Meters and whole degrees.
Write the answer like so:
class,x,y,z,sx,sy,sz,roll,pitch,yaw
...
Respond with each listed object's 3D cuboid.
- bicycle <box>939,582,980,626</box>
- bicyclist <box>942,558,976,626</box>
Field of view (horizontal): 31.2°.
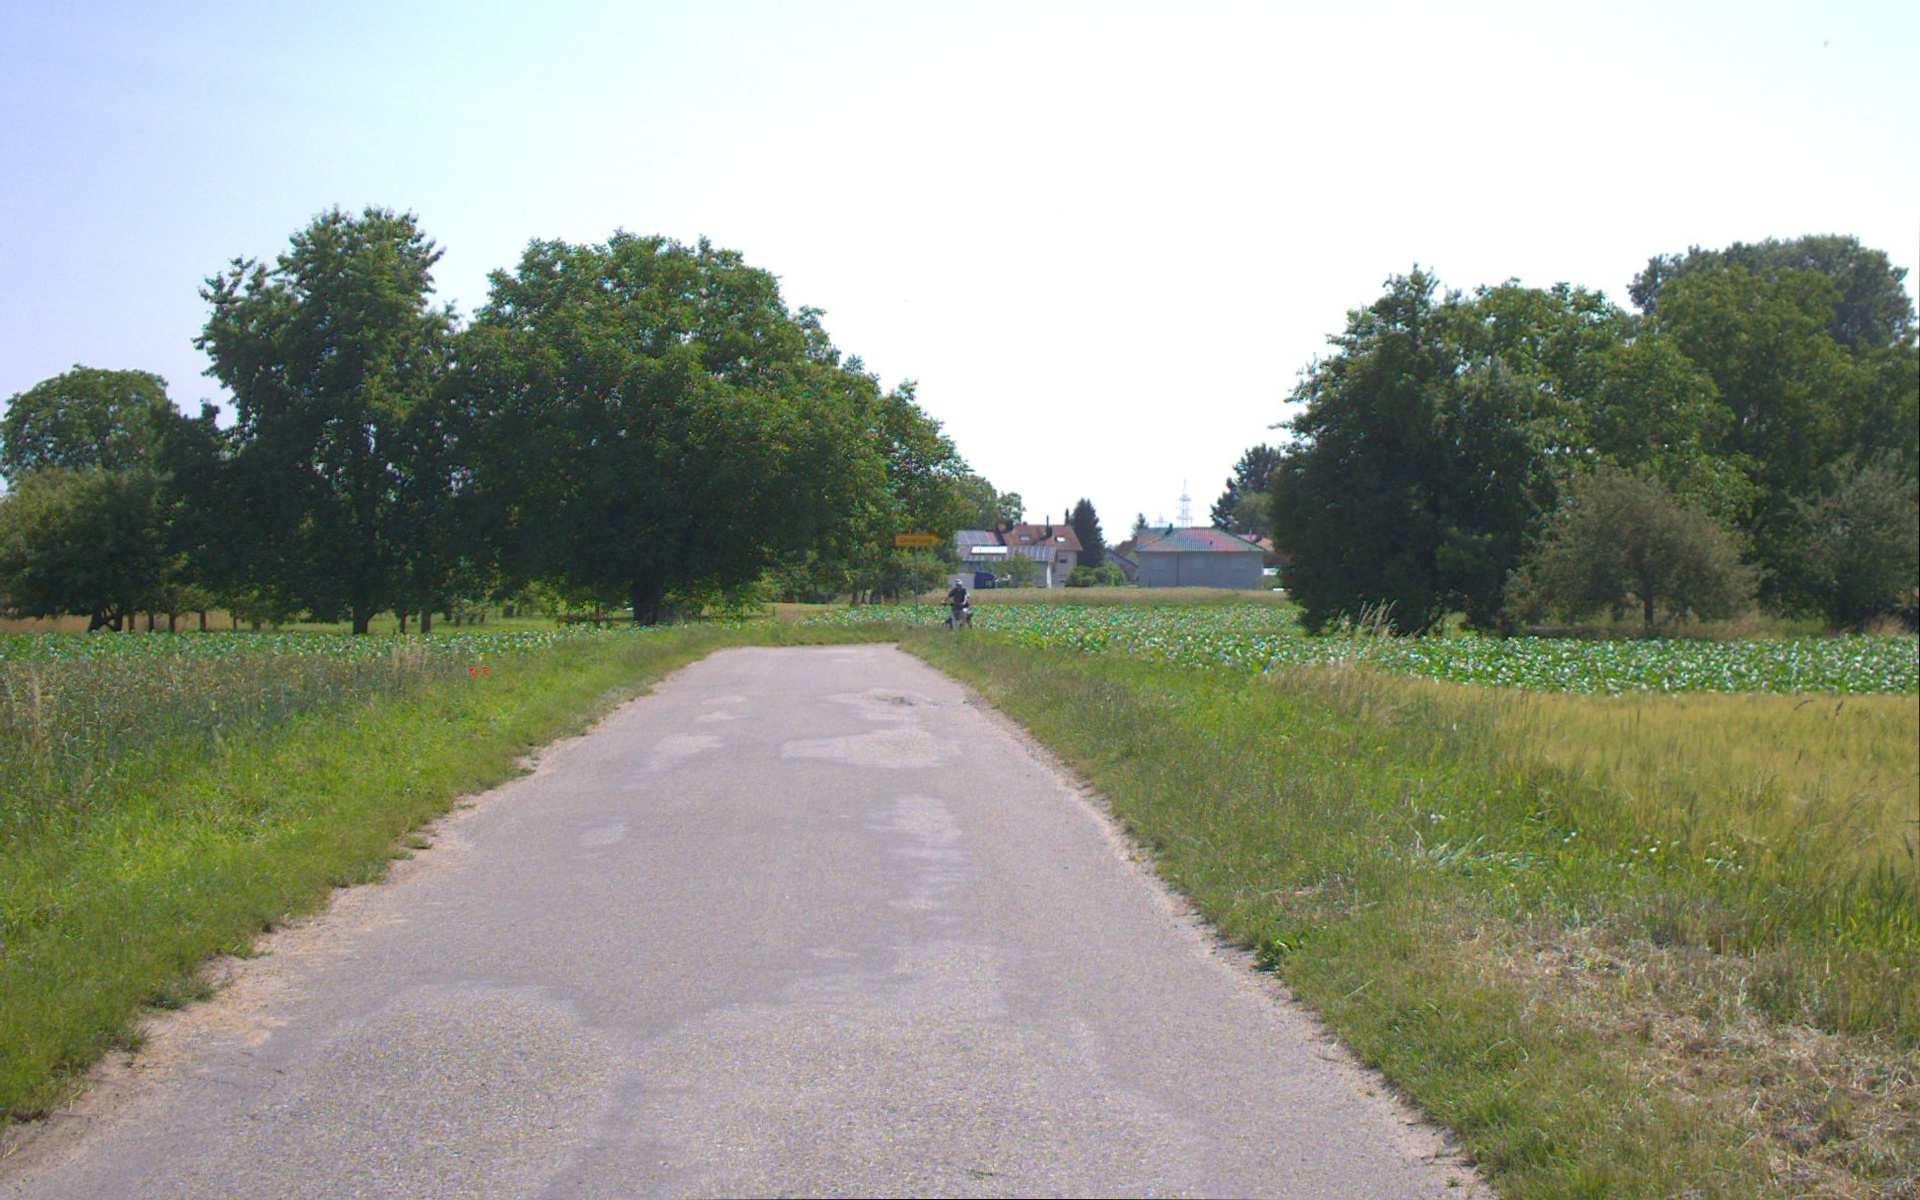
class,x,y,z,sx,sy,sz,roll,pitch,yaw
bicycle,-0.010,0.101,92.469,0.751,1.124,1.907,-2,0,10
bicyclist,-0.015,-0.220,92.473,0.751,1.785,0.716,-2,0,10
